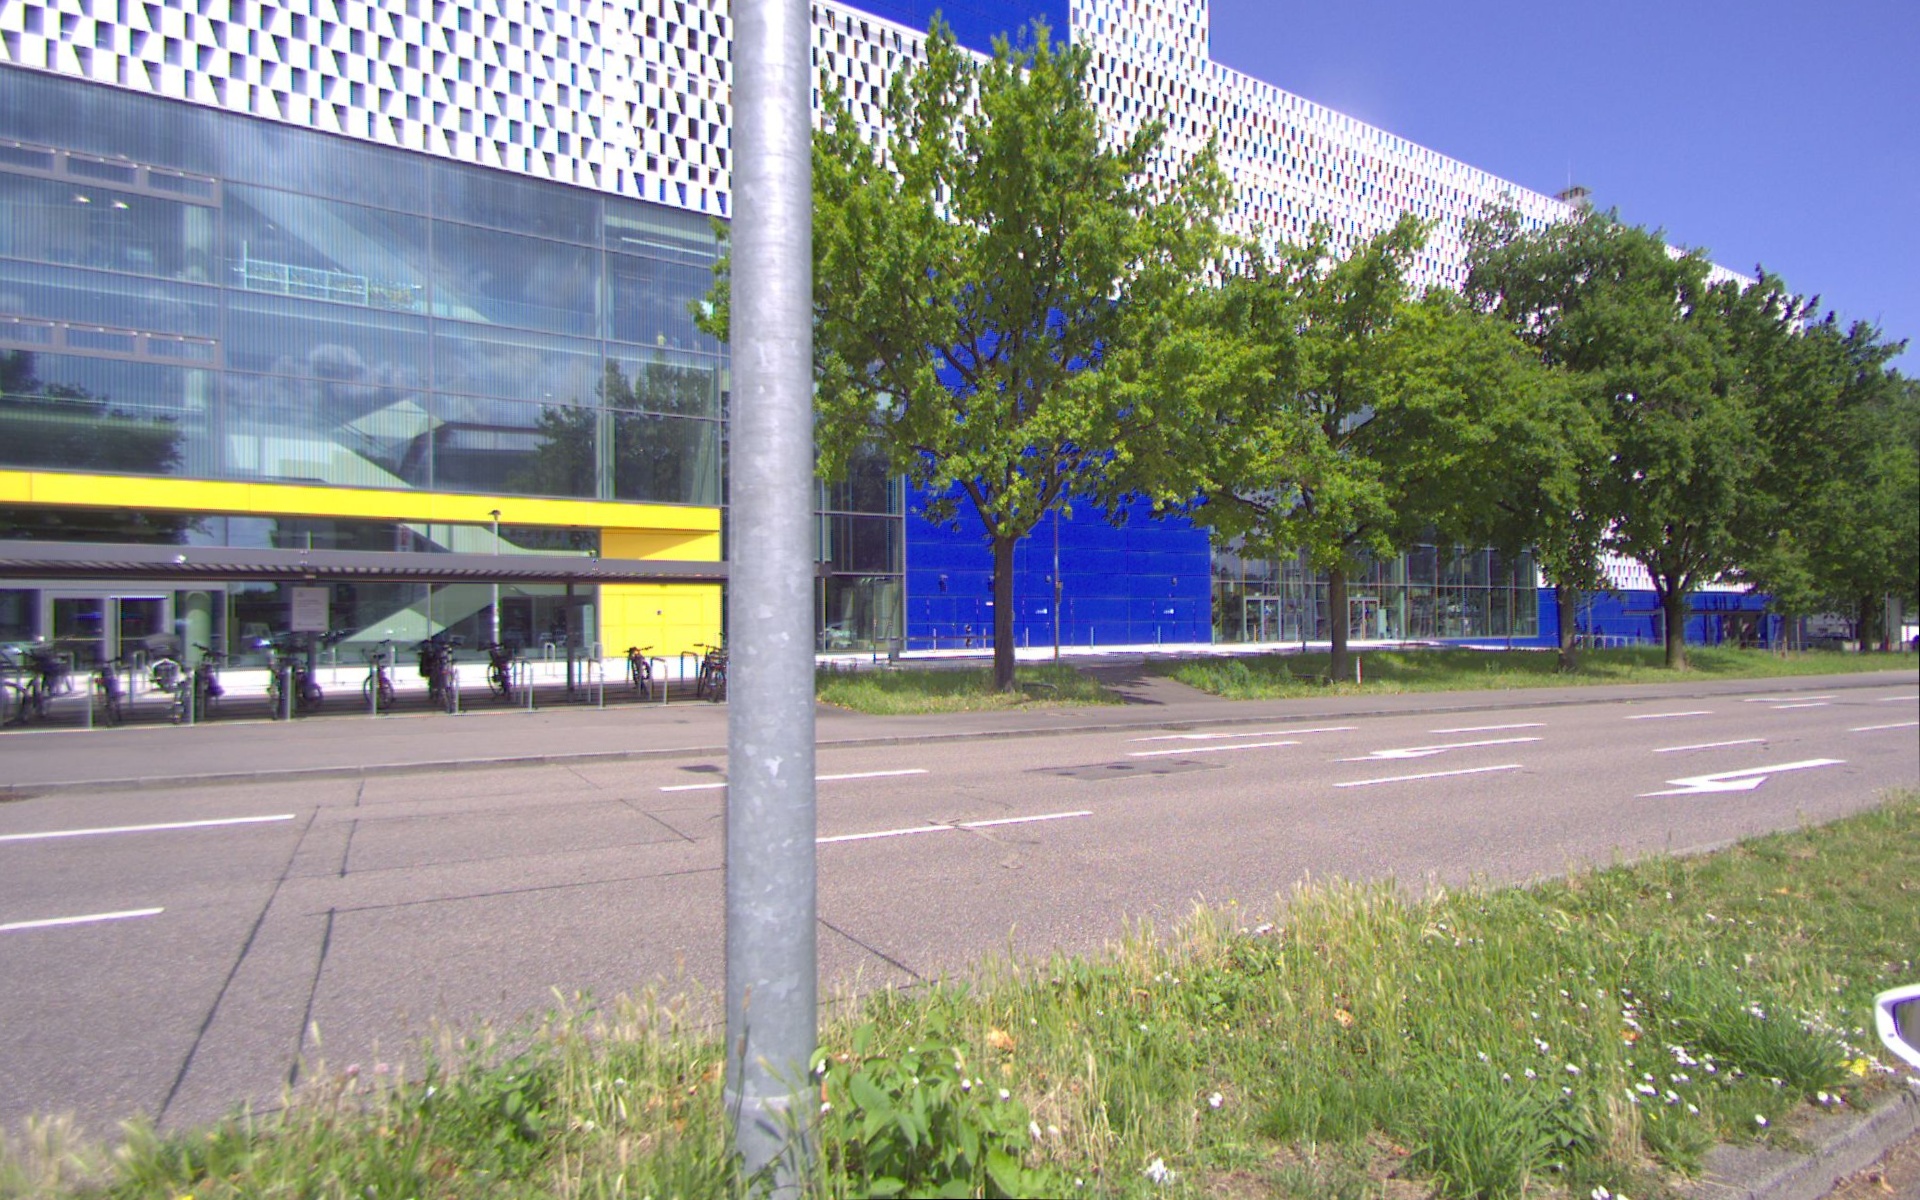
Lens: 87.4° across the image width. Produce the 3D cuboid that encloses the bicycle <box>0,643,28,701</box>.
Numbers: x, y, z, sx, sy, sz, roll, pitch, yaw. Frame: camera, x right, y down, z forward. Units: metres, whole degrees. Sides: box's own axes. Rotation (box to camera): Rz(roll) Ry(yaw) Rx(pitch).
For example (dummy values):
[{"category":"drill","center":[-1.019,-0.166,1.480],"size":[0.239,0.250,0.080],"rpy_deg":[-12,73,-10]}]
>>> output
[{"category":"bicycle","center":[-19.667,1.452,20.575],"size":[0.515,1.104,1.918],"rpy_deg":[0,-1,-33]}]

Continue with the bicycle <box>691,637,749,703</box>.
[{"category":"bicycle","center":[-4.833,1.370,20.138],"size":[0.622,1.199,1.916],"rpy_deg":[0,-1,-29]}]

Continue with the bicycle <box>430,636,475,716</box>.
[{"category":"bicycle","center":[-8.998,1.304,17.795],"size":[0.622,1.289,1.916],"rpy_deg":[0,-1,-29]}]

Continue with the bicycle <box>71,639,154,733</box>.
[{"category":"bicycle","center":[-12.919,1.273,15.354],"size":[0.622,1.289,1.916],"rpy_deg":[0,-1,-29]}]

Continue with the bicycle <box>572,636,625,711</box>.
[{"category":"bicycle","center":[-6.795,1.341,18.842],"size":[0.622,1.289,1.916],"rpy_deg":[0,-1,-29]}]

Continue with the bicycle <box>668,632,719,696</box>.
[{"category":"bicycle","center":[-5.865,1.373,22.051],"size":[0.622,1.289,1.916],"rpy_deg":[0,-1,-29]}]

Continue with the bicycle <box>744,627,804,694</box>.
[{"category":"bicycle","center":[-3.858,1.205,20.699],"size":[0.622,1.289,1.916],"rpy_deg":[0,-1,-29]}]

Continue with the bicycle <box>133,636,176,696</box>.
[{"category":"bicycle","center":[-17.567,1.412,21.933],"size":[0.523,1.225,1.922],"rpy_deg":[1,-2,-33]}]

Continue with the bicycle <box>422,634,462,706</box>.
[{"category":"bicycle","center":[-10.127,1.337,19.613],"size":[0.622,1.289,1.916],"rpy_deg":[0,-1,-29]}]

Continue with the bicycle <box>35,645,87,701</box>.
[{"category":"bicycle","center":[-18.891,1.514,21.137],"size":[0.523,1.084,1.922],"rpy_deg":[1,-2,-33]}]

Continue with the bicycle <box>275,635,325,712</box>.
[{"category":"bicycle","center":[-12.039,1.308,18.365],"size":[0.622,1.289,1.916],"rpy_deg":[0,-1,-29]}]

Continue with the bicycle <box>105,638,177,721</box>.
[{"category":"bicycle","center":[-13.934,1.317,17.128],"size":[0.622,1.289,1.916],"rpy_deg":[0,-1,-29]}]

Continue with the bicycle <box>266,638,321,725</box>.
[{"category":"bicycle","center":[-10.965,1.303,16.563],"size":[0.622,1.289,1.916],"rpy_deg":[0,-1,-29]}]

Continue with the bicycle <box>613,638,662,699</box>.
[{"category":"bicycle","center":[-6.877,1.431,21.343],"size":[0.622,1.195,1.916],"rpy_deg":[0,-1,-29]}]

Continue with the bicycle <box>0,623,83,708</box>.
[{"category":"bicycle","center":[-15.006,1.032,16.429],"size":[0.622,1.289,1.916],"rpy_deg":[0,-1,-29]}]

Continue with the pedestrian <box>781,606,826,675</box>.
[{"category":"pedestrian","center":[-4.037,1.027,25.857],"size":[0.876,1.725,0.946],"rpy_deg":[1,-1,-30]}]

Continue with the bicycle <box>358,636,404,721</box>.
[{"category":"bicycle","center":[-9.644,1.269,16.760],"size":[0.622,1.289,1.916],"rpy_deg":[0,-1,-29]}]

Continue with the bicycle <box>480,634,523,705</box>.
[{"category":"bicycle","center":[-9.123,1.347,19.965],"size":[0.622,1.289,1.916],"rpy_deg":[0,-1,-29]}]

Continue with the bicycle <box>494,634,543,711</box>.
[{"category":"bicycle","center":[-8.056,1.288,18.279],"size":[0.622,1.289,1.916],"rpy_deg":[0,-1,-29]}]

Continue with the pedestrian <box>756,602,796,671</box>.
[{"category":"pedestrian","center":[-5.021,0.980,27.415],"size":[0.876,1.847,0.750],"rpy_deg":[1,-1,-30]}]

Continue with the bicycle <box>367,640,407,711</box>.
[{"category":"bicycle","center":[-10.693,1.374,18.765],"size":[0.622,1.199,1.916],"rpy_deg":[0,-1,-29]}]

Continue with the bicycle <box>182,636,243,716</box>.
[{"category":"bicycle","center":[-13.179,1.302,17.751],"size":[0.622,1.289,1.916],"rpy_deg":[0,-1,-29]}]

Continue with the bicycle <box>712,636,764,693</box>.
[{"category":"bicycle","center":[-5.018,1.429,22.645],"size":[0.622,1.199,1.916],"rpy_deg":[0,-1,-29]}]

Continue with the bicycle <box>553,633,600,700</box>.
[{"category":"bicycle","center":[-7.954,1.344,20.789],"size":[0.622,1.289,1.916],"rpy_deg":[0,-1,-29]}]

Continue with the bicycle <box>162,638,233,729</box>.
[{"category":"bicycle","center":[-12.046,1.280,15.921],"size":[0.622,1.289,2.080],"rpy_deg":[0,-1,-29]}]

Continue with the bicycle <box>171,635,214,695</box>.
[{"category":"bicycle","center":[-17.038,1.407,22.318],"size":[0.591,1.260,1.933],"rpy_deg":[1,-2,-33]}]

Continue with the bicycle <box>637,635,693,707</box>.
[{"category":"bicycle","center":[-5.772,1.353,19.574],"size":[0.622,1.289,1.916],"rpy_deg":[0,-1,-29]}]
